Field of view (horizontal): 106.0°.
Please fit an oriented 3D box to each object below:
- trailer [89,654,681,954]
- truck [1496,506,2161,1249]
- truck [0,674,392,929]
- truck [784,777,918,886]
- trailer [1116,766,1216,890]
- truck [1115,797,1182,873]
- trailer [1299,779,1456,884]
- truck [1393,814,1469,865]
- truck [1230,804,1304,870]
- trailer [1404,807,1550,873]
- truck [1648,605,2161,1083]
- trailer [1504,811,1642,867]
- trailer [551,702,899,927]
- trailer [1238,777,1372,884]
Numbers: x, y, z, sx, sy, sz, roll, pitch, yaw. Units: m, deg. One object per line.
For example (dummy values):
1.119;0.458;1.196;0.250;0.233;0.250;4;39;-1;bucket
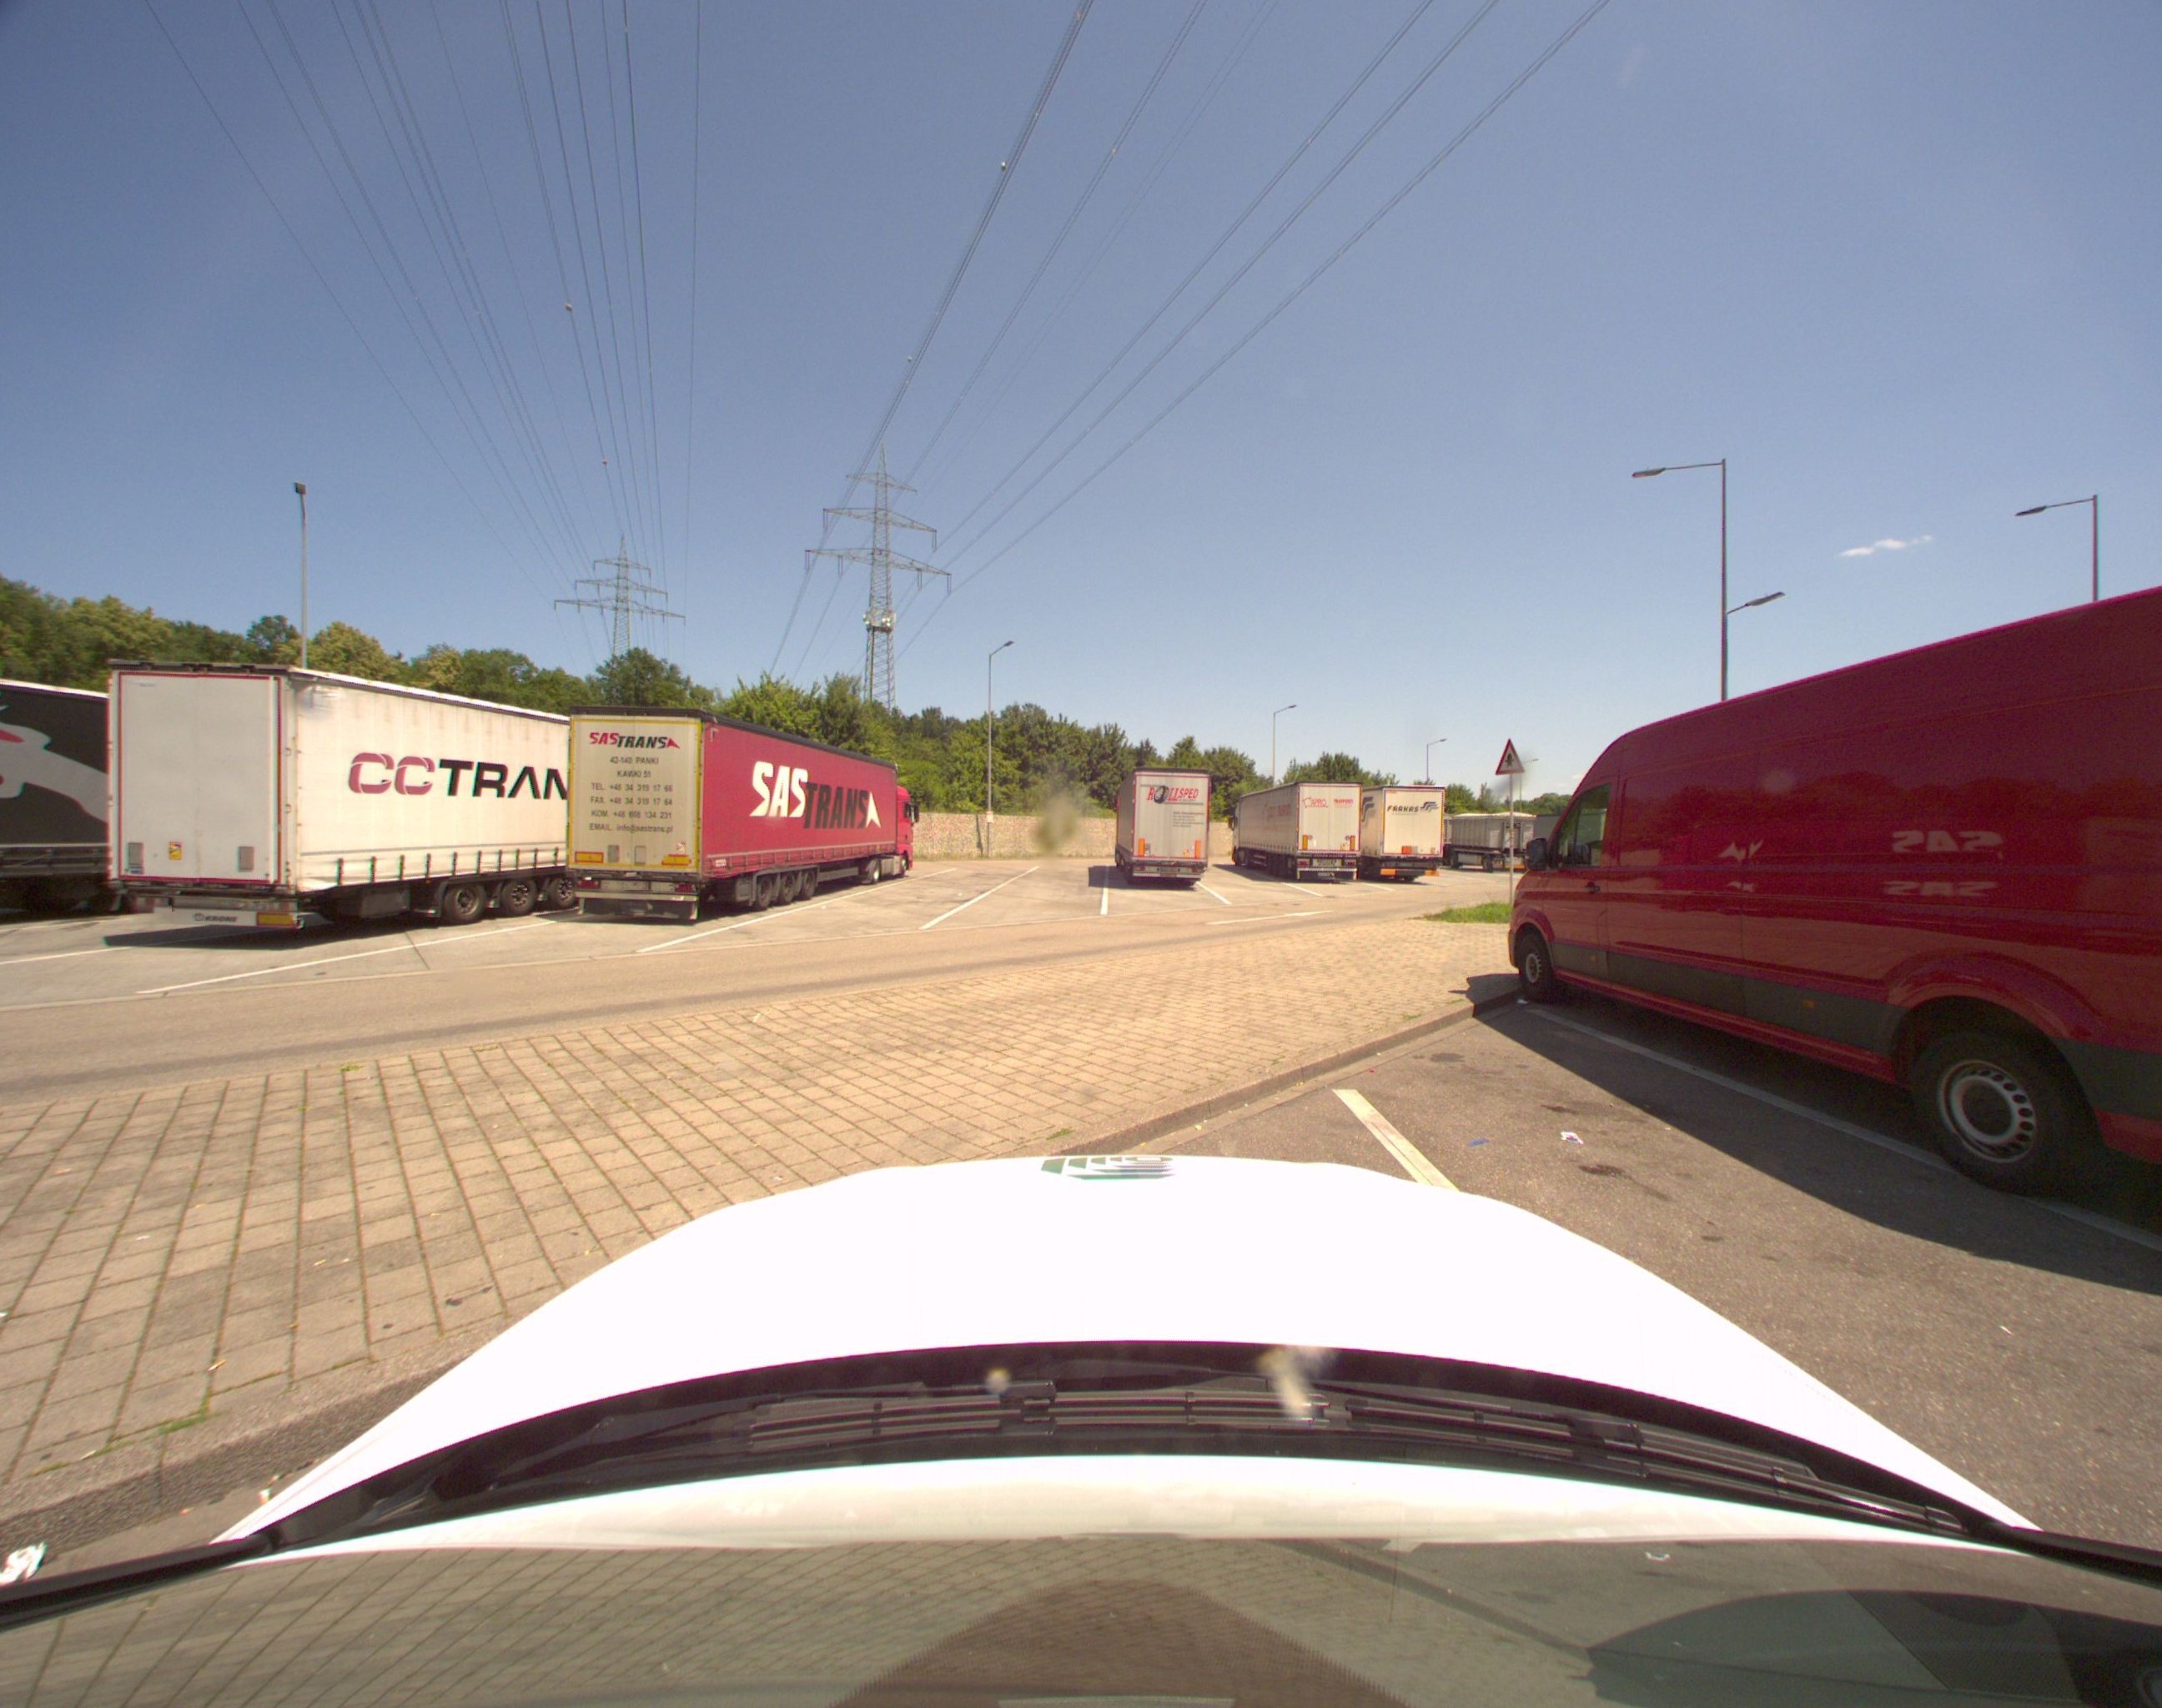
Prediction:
-12.166;-0.849;16.437;2.696;4.101;10.395;1;2;2;trailer
5.136;0.080;5.466;2.001;2.651;6.466;-1;0;6;truck
-18.555;-0.949;15.844;2.696;4.070;8.694;1;2;2;truck
-7.837;-0.803;28.557;2.801;3.362;5.977;1;2;2;truck
3.043;-1.053;33.223;2.848;3.971;13.767;1;2;1;trailer
3.135;-0.945;39.425;2.855;3.362;5.977;1;2;2;truck
13.604;-1.096;39.237;2.847;4.109;13.770;1;2;2;trailer
24.623;-1.082;57.608;2.855;3.362;5.977;1;2;2;truck
10.174;-0.981;45.077;2.855;3.362;5.977;1;2;2;truck
24.437;-0.993;51.511;2.847;3.599;13.770;1;2;2;trailer
7.995;-0.070;6.899;2.406;2.906;6.466;-1;0;6;truck
38.218;-1.292;64.192;2.847;3.904;13.770;1;2;2;trailer
-8.052;-0.935;21.741;2.811;4.070;13.770;1;2;2;trailer
9.976;-1.123;38.313;2.847;4.109;13.770;1;2;2;trailer
